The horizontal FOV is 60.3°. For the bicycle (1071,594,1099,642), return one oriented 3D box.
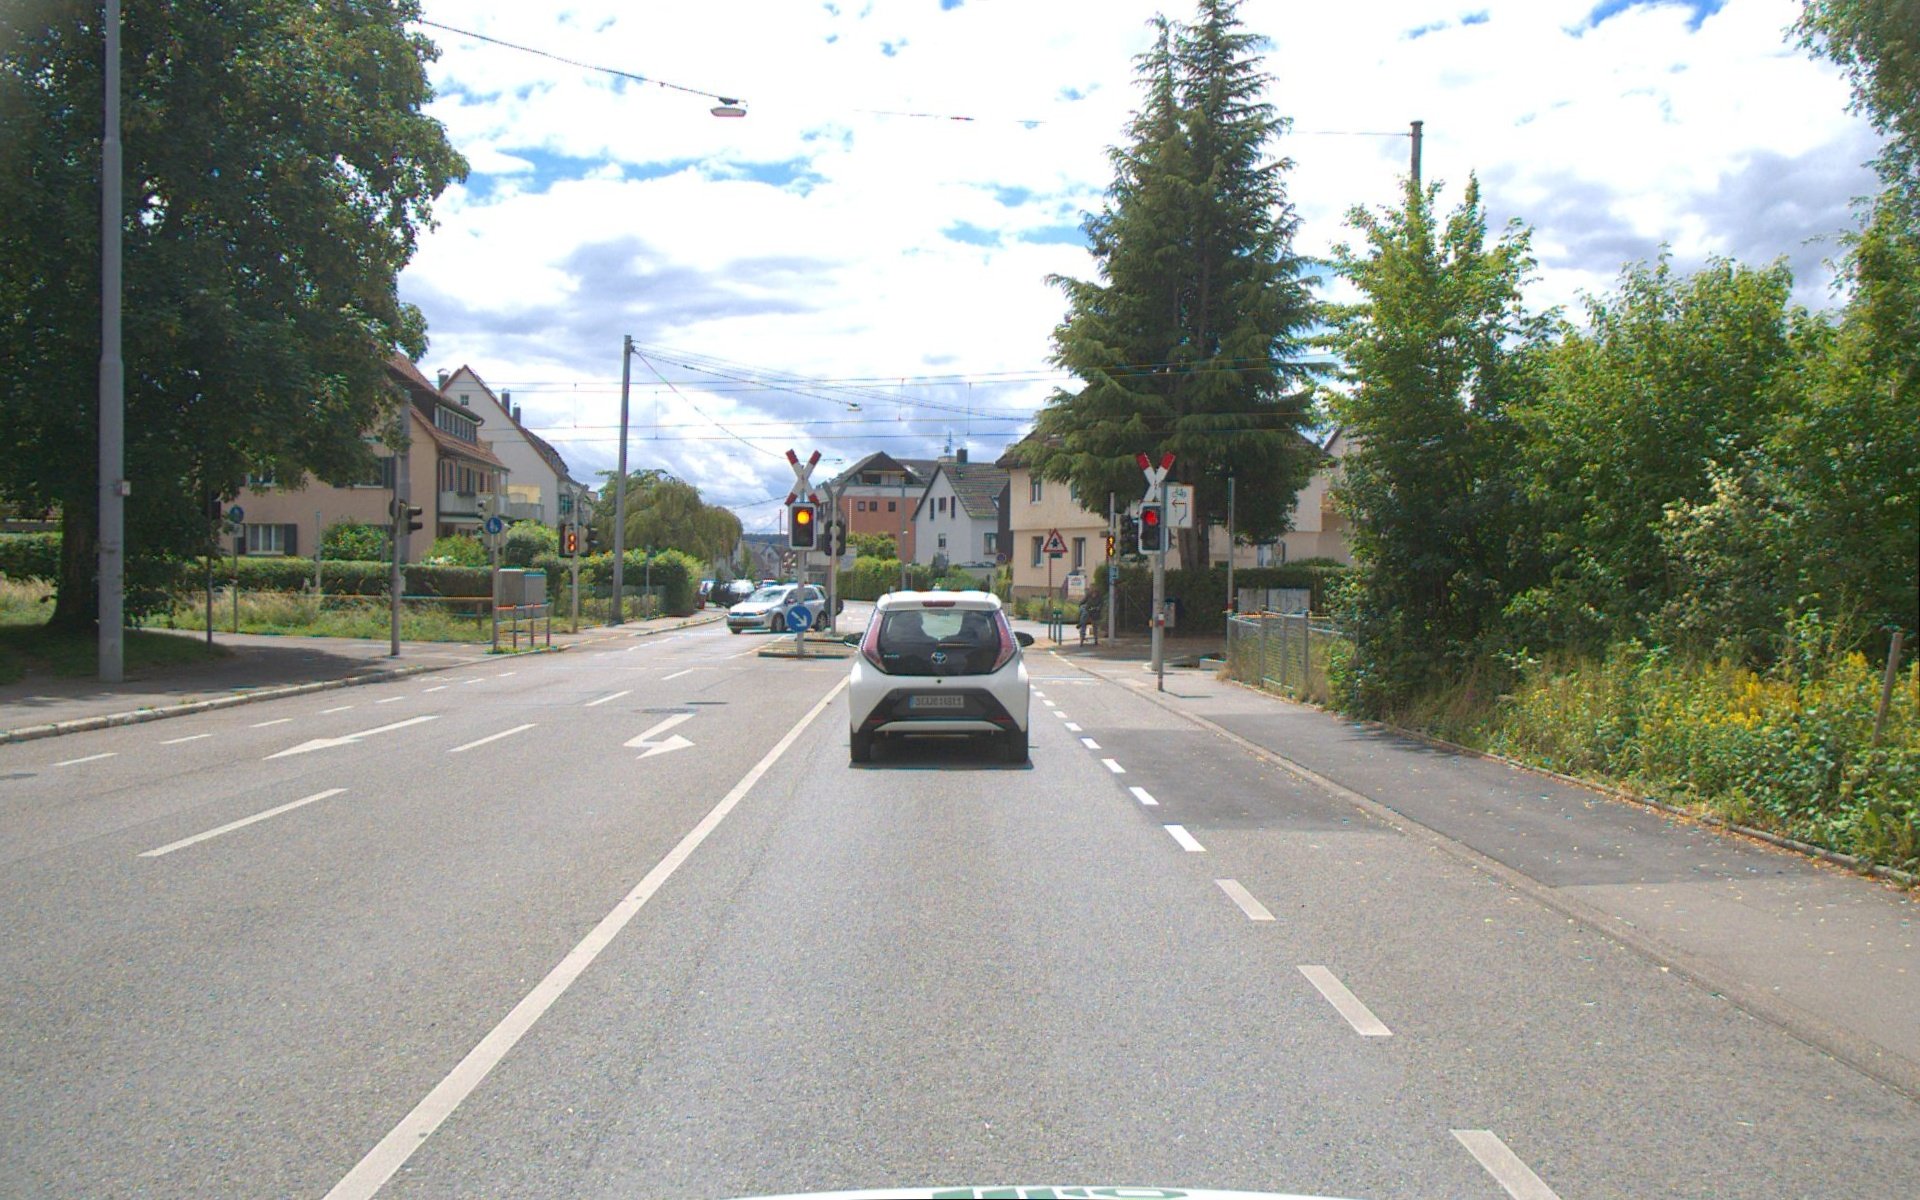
[{"bbox_3d":[3.400,0.479,45.135,0.449,1.192,1.477,-2,3,-6],"label":"bicycle"}]

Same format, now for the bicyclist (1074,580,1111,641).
[{"bbox_3d":[3.601,0.272,45.014,0.825,1.580,0.755,-2,3,-7],"label":"bicyclist"}]

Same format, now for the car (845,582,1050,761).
[{"bbox_3d":[-0.229,0.590,15.752,1.687,1.467,3.705,1,0,-4],"label":"car"}]

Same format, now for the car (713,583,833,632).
[{"bbox_3d":[-5.950,0.253,53.040,1.868,1.466,4.094,1,0,27],"label":"car"}]

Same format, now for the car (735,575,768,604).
[{"bbox_3d":[-13.083,-0.641,104.033,1.956,1.749,3.994,1,0,-7],"label":"car"}]
